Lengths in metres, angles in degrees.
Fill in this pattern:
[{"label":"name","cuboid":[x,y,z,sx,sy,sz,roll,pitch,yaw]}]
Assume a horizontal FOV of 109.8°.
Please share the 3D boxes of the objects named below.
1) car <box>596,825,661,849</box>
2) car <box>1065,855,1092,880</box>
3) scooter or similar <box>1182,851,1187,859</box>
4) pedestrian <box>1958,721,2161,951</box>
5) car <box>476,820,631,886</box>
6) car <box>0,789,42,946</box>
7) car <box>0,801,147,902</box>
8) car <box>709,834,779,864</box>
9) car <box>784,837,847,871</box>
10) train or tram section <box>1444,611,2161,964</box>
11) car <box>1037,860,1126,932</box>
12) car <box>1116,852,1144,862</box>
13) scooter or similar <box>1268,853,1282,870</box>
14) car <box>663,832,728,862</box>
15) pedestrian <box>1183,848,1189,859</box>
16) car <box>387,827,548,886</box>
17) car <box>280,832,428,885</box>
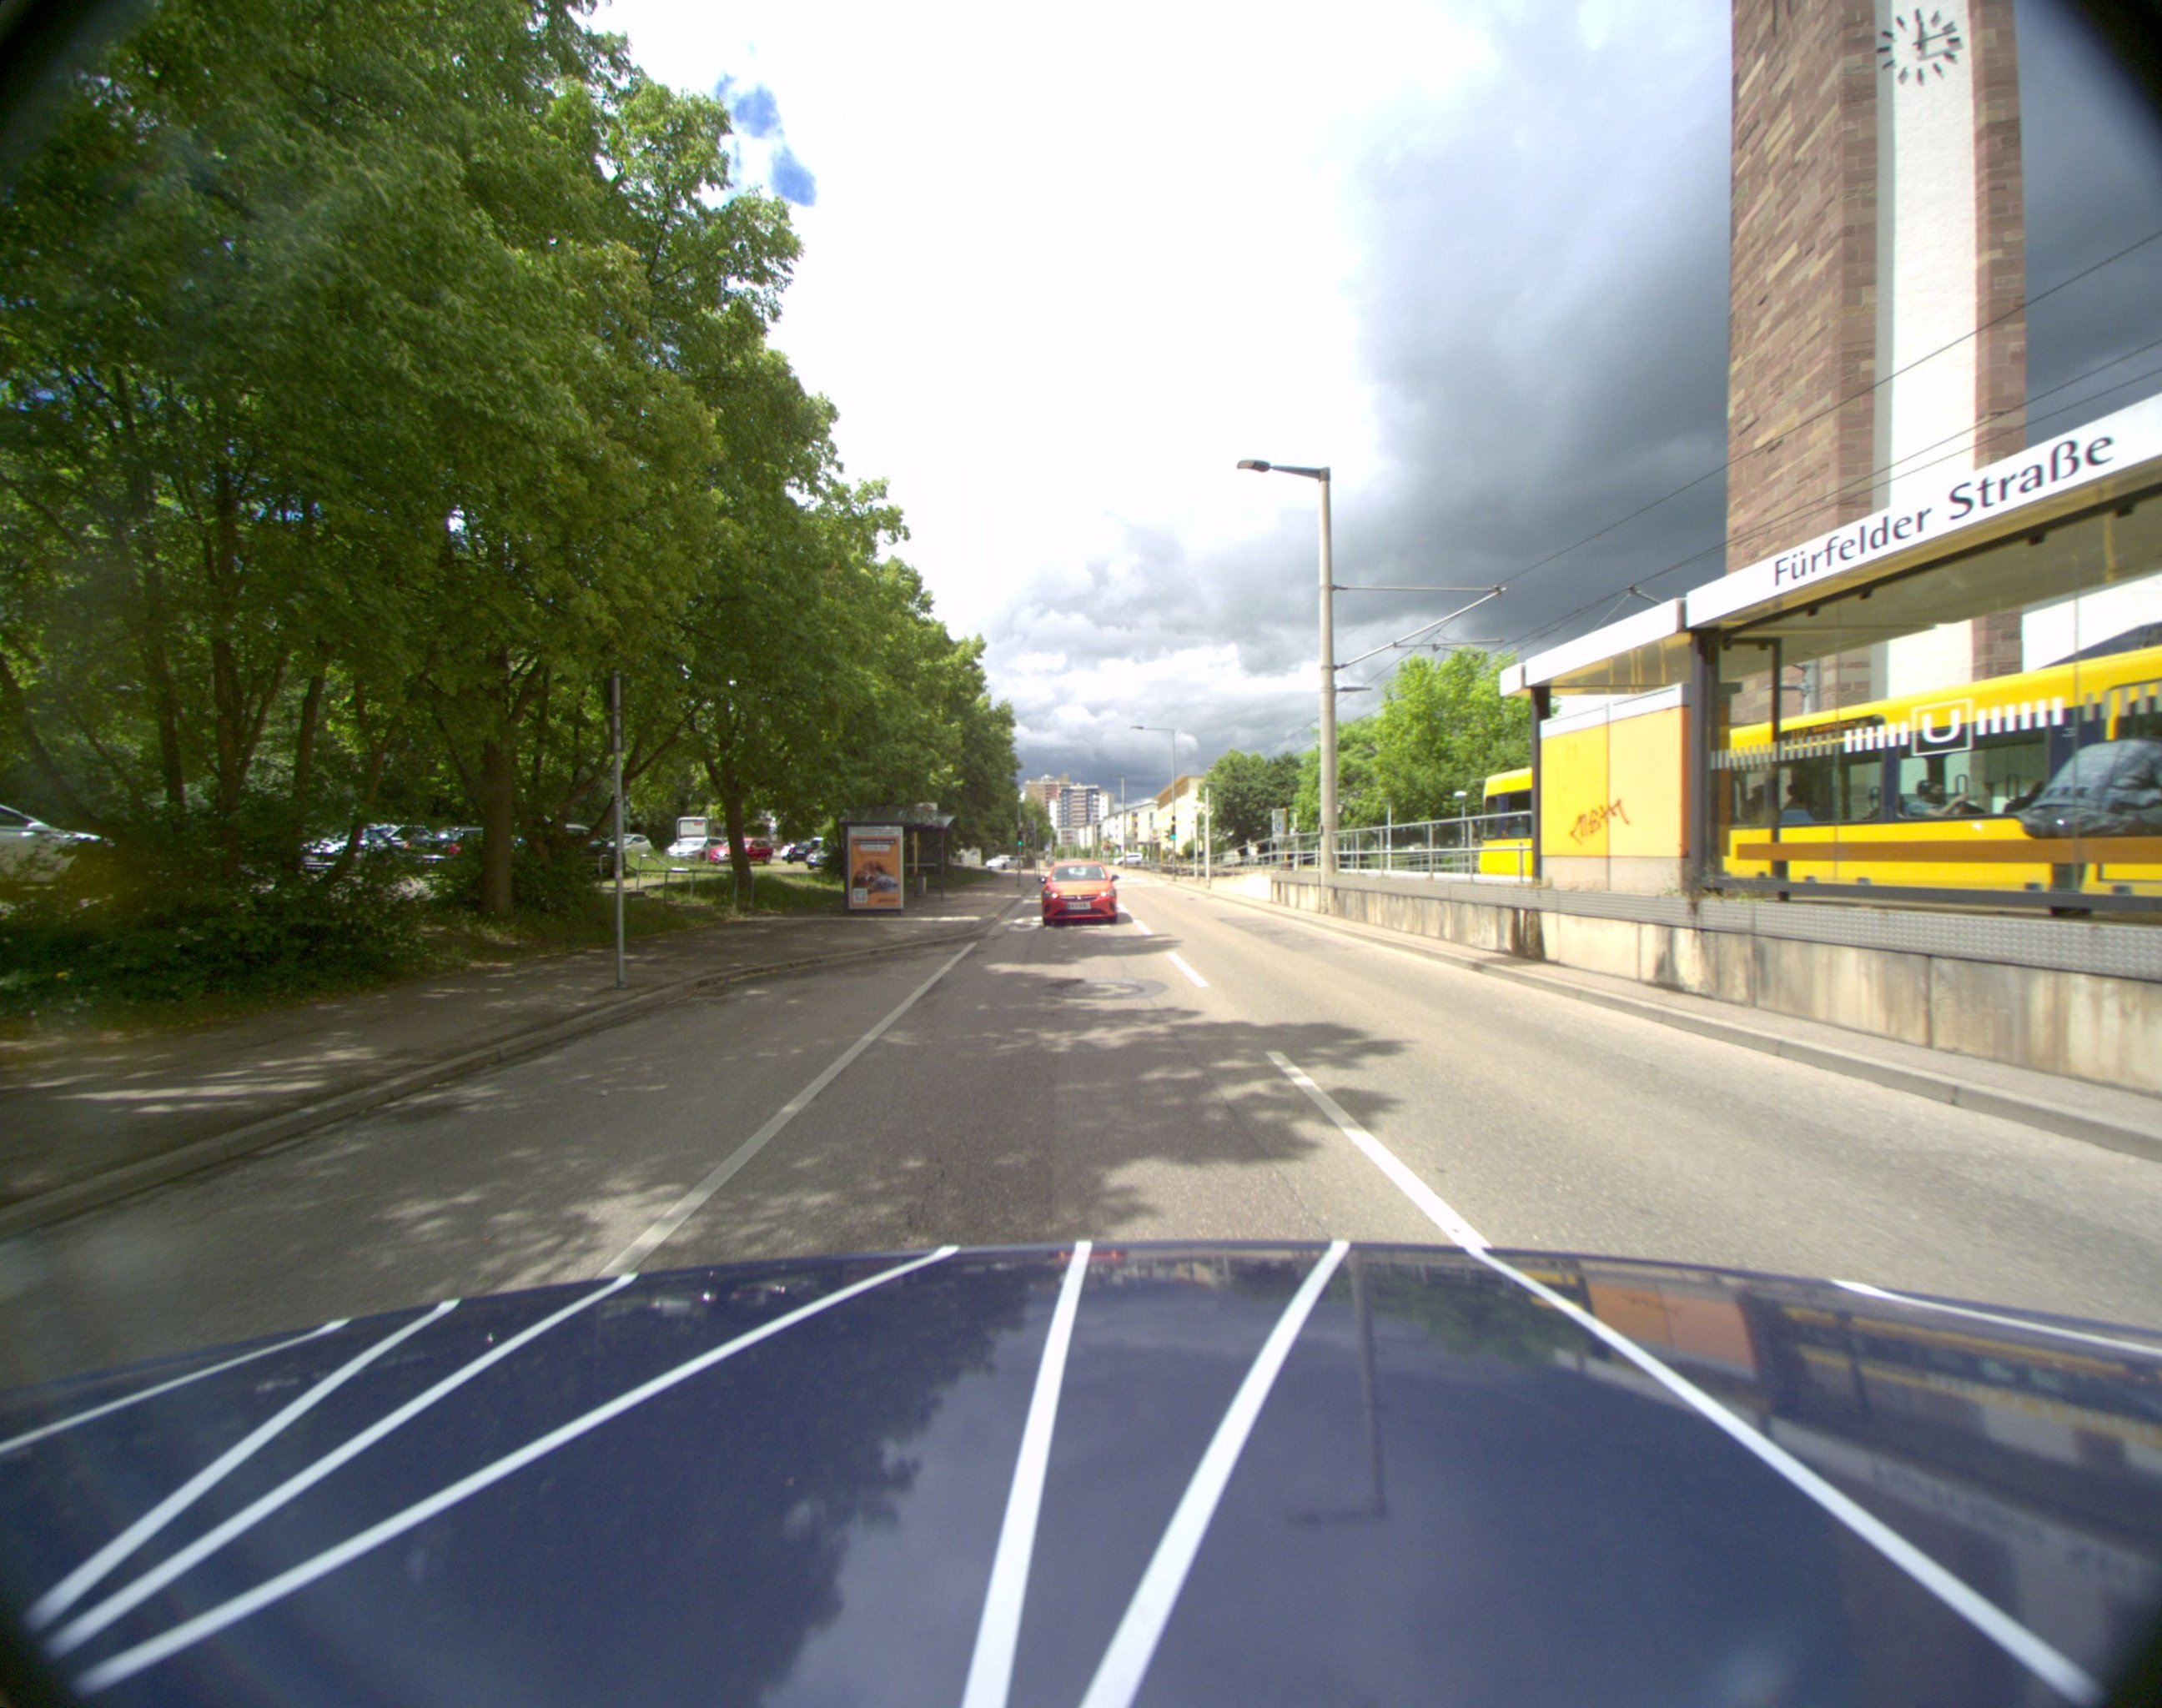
[{"label":"car","cuboid":[-26.577,-0.972,44.766,1.635,1.320,3.662,2,0,-1]},{"label":"car","cuboid":[-0.190,0.841,48.830,1.499,1.477,3.518,0,0,-5]},{"label":"scooter or similar","cuboid":[14.187,0.123,104.213,0.606,1.108,0.820,-1,1,-3]},{"label":"pedestrian","cuboid":[5.907,-0.089,4.299,0.798,1.180,0.919,1,1,-2]},{"label":"car","cuboid":[-15.422,-0.101,22.527,1.692,1.685,4.259,3,2,-2]},{"label":"car","cuboid":[-12.255,0.169,5.900,1.851,1.652,4.723,-1,0,0]},{"label":"car","cuboid":[-17.308,-0.080,11.207,1.473,1.546,4.432,3,0,1]},{"label":"car","cuboid":[-17.973,-0.276,40.755,1.757,1.469,4.543,2,0,-1]},{"label":"car","cuboid":[-12.933,0.003,37.210,1.631,1.505,4.138,3,0,-1]},{"label":"train or tram section","cuboid":[12.035,-0.731,12.174,3.116,3.444,18.822,-2,0,-1]},{"label":"car","cuboid":[-0.110,0.929,18.632,1.784,1.434,4.129,-2,0,-5]},{"label":"car","cuboid":[7.506,0.431,117.020,4.137,1.286,1.631,3,1,-5]},{"label":"scooter or similar","cuboid":[14.442,0.569,56.643,0.651,1.229,1.401,-2,0,0]},{"label":"car","cuboid":[-20.461,-0.348,40.480,1.635,1.469,3.662,2,0,-1]},{"label":"pedestrian","cuboid":[14.233,-0.087,103.313,0.614,1.531,0.874,-1,1,-3]},{"label":"car","cuboid":[-17.759,0.008,22.246,1.692,1.484,3.792,3,2,-2]},{"label":"car","cuboid":[-20.130,0.080,21.187,1.411,1.295,2.858,3,2,-2]}]
